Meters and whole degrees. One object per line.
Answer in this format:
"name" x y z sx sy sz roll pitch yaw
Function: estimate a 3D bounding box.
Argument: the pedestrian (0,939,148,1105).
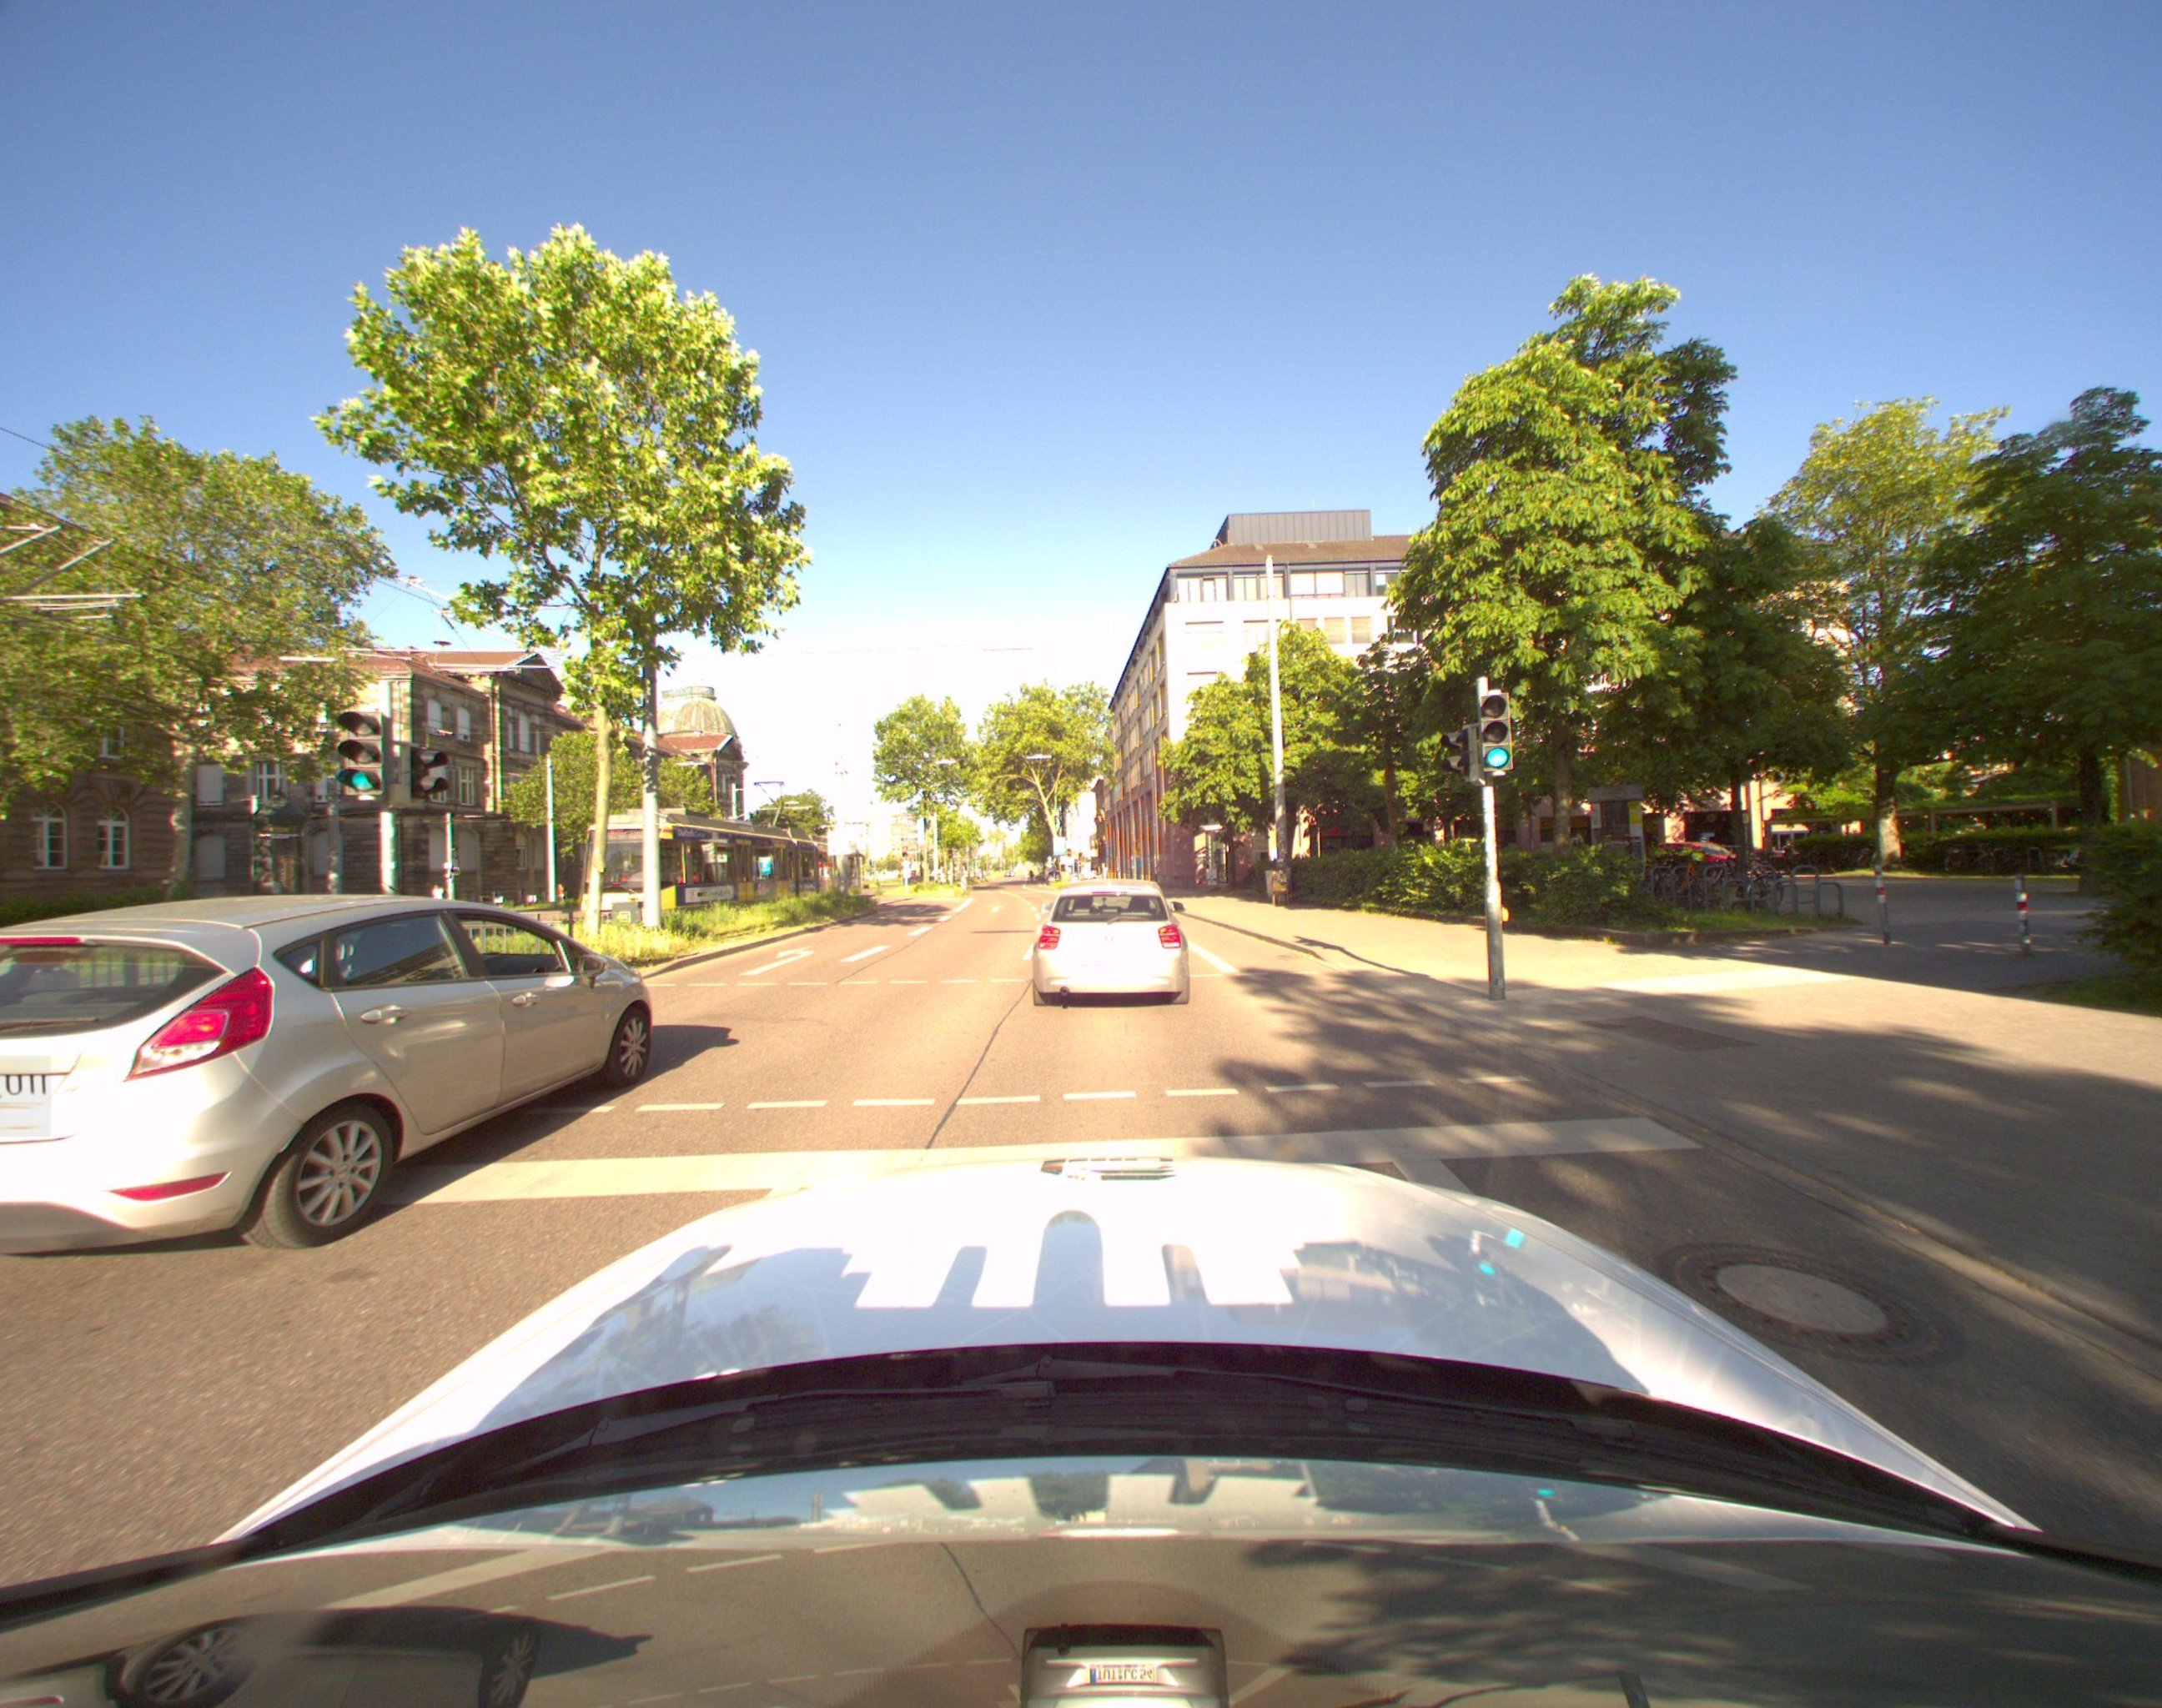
"pedestrian" -7.365 1.188 5.875 0.630 1.073 0.528 -2 -1 -8

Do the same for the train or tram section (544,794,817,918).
"train or tram section" -13.089 0.348 29.368 2.908 3.261 15.868 0 -2 -4

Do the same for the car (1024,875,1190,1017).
"car" 0.407 1.010 10.403 1.722 1.390 3.844 -1 0 4

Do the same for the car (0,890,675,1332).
"car" -3.921 0.947 4.542 1.657 1.409 3.627 -1 -2 -4

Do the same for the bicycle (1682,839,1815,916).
"bicycle" 12.623 0.445 15.426 1.990 1.314 0.574 -3 -1 -1

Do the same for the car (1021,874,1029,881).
"car" -17.337 7.232 251.955 1.986 2.014 4.000 0 -2 1

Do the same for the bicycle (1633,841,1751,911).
"bicycle" 12.873 0.462 17.181 1.990 1.314 0.574 -3 -1 -1

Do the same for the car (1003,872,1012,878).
"car" -19.206 5.475 213.503 1.993 1.486 3.986 -2 -1 -10

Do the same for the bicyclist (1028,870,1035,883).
"bicyclist" -6.433 2.954 105.491 0.655 1.657 0.766 -3 -1 6

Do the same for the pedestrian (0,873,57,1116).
"pedestrian" -7.281 0.913 5.207 0.630 1.557 0.645 -2 -1 -8

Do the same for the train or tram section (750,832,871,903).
"train or tram section" -14.053 0.868 43.797 2.909 3.261 13.091 0 -2 -4

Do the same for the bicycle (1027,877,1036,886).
"bicycle" -6.420 3.532 105.479 0.827 1.041 1.877 -3 -1 6

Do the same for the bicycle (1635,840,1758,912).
"bicycle" 12.492 0.438 16.560 1.990 1.314 0.574 -3 -1 -1

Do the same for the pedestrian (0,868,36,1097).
"pedestrian" -8.109 0.918 5.633 0.621 1.629 0.949 -2 -2 25
